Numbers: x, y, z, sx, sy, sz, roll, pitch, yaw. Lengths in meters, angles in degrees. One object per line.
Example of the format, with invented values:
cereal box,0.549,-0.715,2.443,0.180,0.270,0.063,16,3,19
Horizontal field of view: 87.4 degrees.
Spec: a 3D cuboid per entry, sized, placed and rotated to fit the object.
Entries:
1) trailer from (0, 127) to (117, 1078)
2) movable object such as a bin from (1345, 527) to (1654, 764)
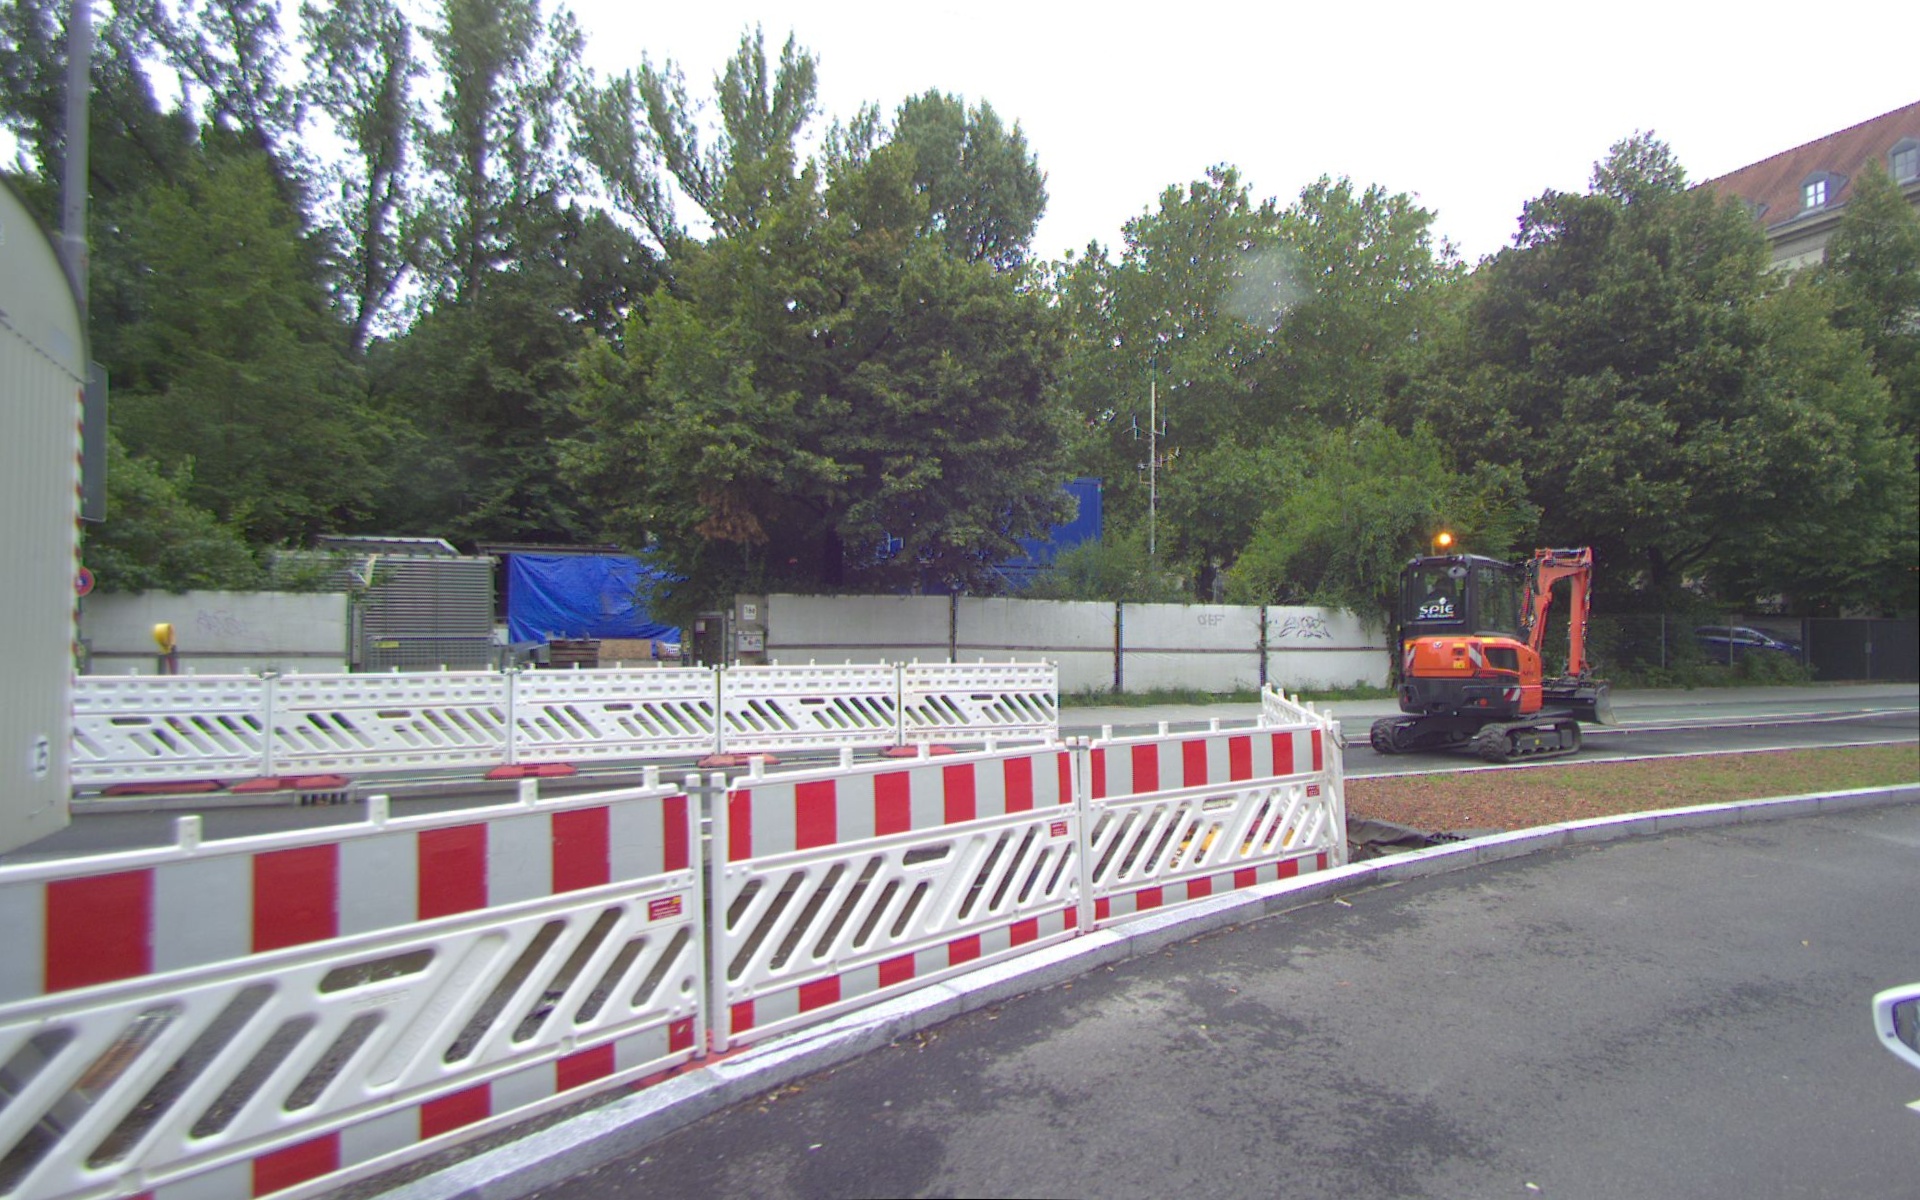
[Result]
trailer,-6.668,-0.017,1.875,7.422,3.286,2.219,1,-1,-27
movable object such as a bin,7.367,0.574,13.539,4.624,2.676,1.979,1,-2,-38
